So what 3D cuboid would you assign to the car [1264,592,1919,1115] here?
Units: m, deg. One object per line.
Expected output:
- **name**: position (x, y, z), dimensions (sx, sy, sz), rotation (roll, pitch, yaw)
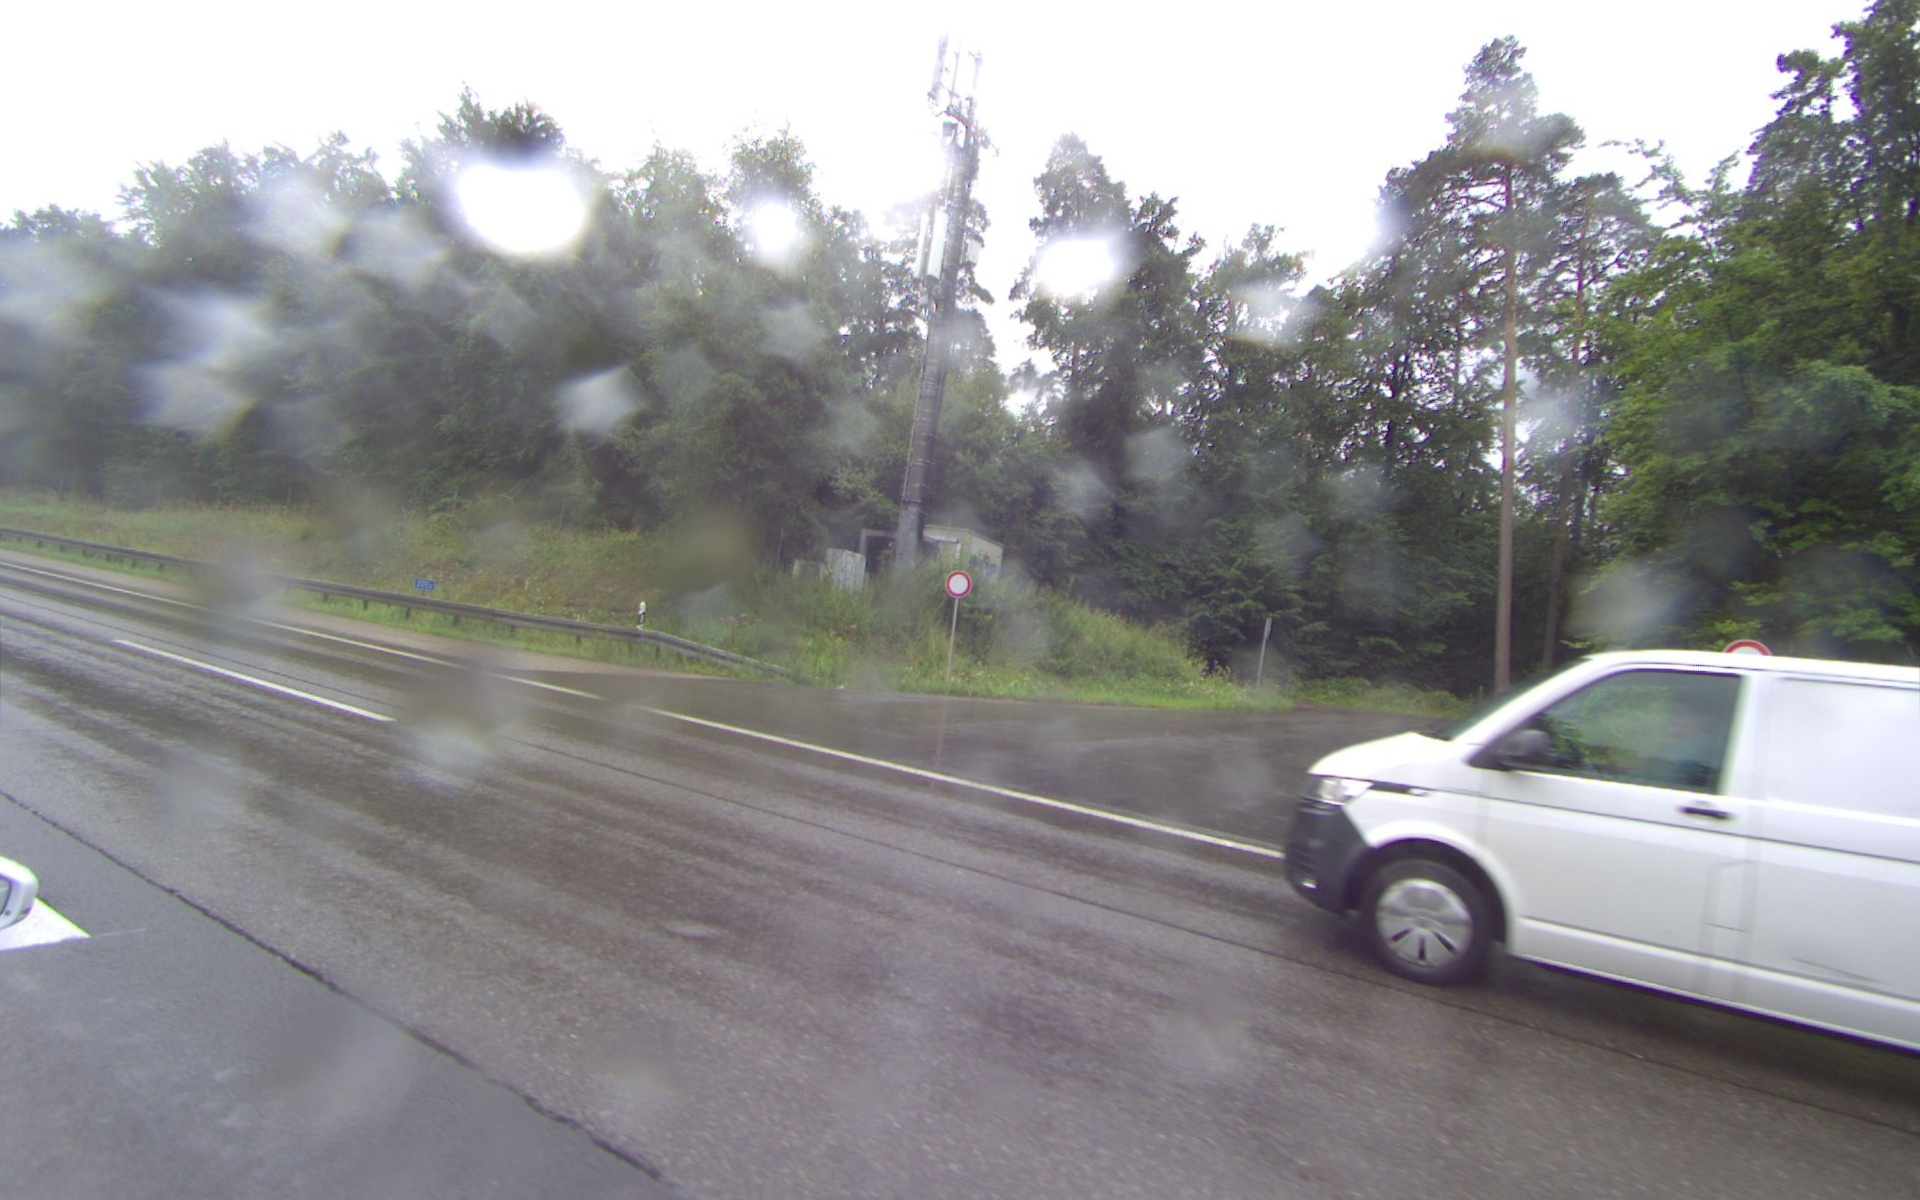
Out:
- **car**: position (4.322, 1.267, 5.322), dimensions (4.686, 1.943, 1.994), rotation (7, -1, 30)
